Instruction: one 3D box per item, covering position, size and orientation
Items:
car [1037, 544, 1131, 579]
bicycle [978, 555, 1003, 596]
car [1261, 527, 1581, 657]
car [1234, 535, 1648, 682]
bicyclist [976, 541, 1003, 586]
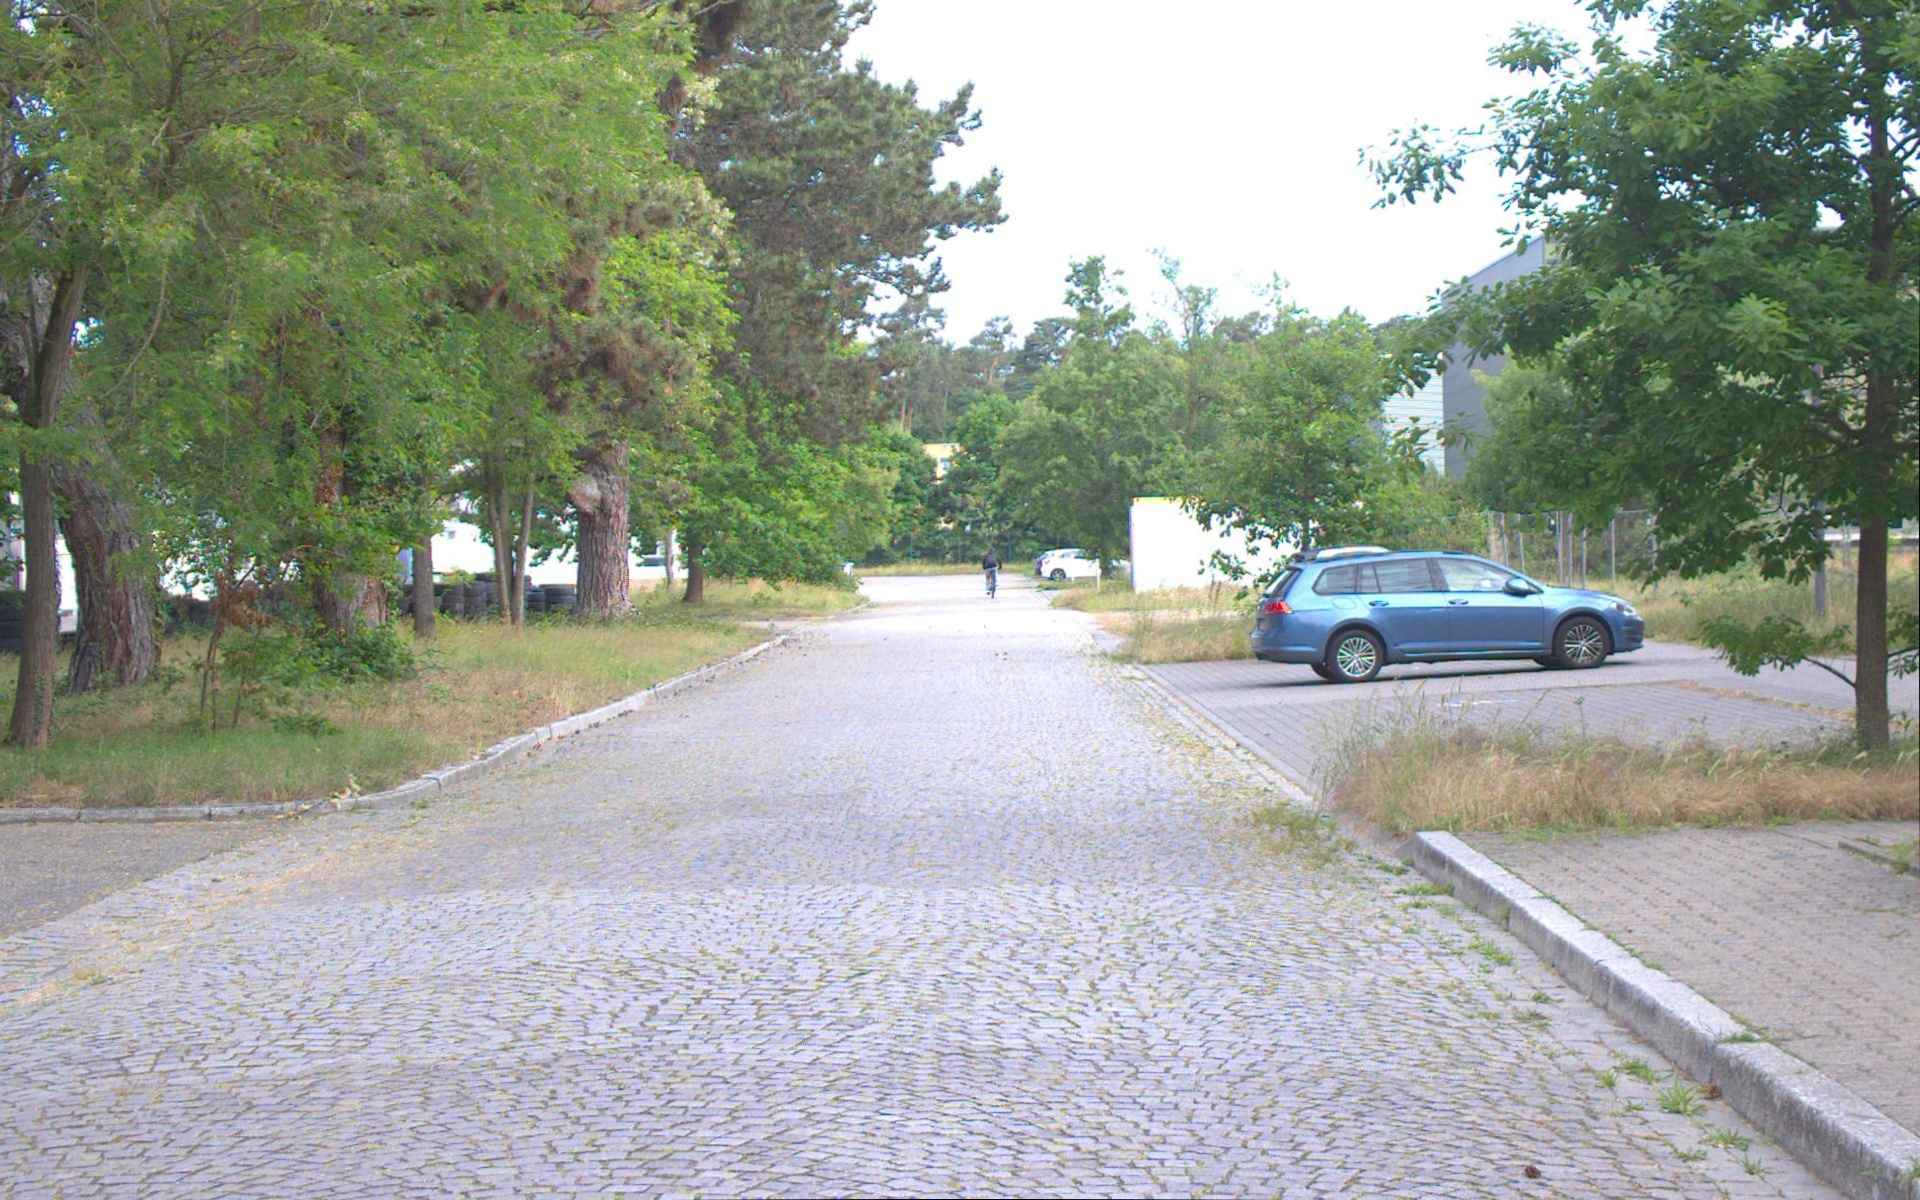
[{"bbox_3d":[5.769,-1.786,160.162,4.322,1.544,2.000,-1,1,2],"label":"car"},{"bbox_3d":[1.050,-0.858,119.406,0.823,1.372,2.043,-1,2,-1],"label":"bicycle"},{"bbox_3d":[6.373,-0.124,47.787,4.107,1.567,1.765,-3,1,-2],"label":"car"},{"bbox_3d":[5.594,0.084,40.344,4.480,1.457,1.935,-3,1,-2],"label":"car"},{"bbox_3d":[1.039,-1.281,119.392,0.897,1.537,0.868,-1,2,-1],"label":"bicyclist"}]
